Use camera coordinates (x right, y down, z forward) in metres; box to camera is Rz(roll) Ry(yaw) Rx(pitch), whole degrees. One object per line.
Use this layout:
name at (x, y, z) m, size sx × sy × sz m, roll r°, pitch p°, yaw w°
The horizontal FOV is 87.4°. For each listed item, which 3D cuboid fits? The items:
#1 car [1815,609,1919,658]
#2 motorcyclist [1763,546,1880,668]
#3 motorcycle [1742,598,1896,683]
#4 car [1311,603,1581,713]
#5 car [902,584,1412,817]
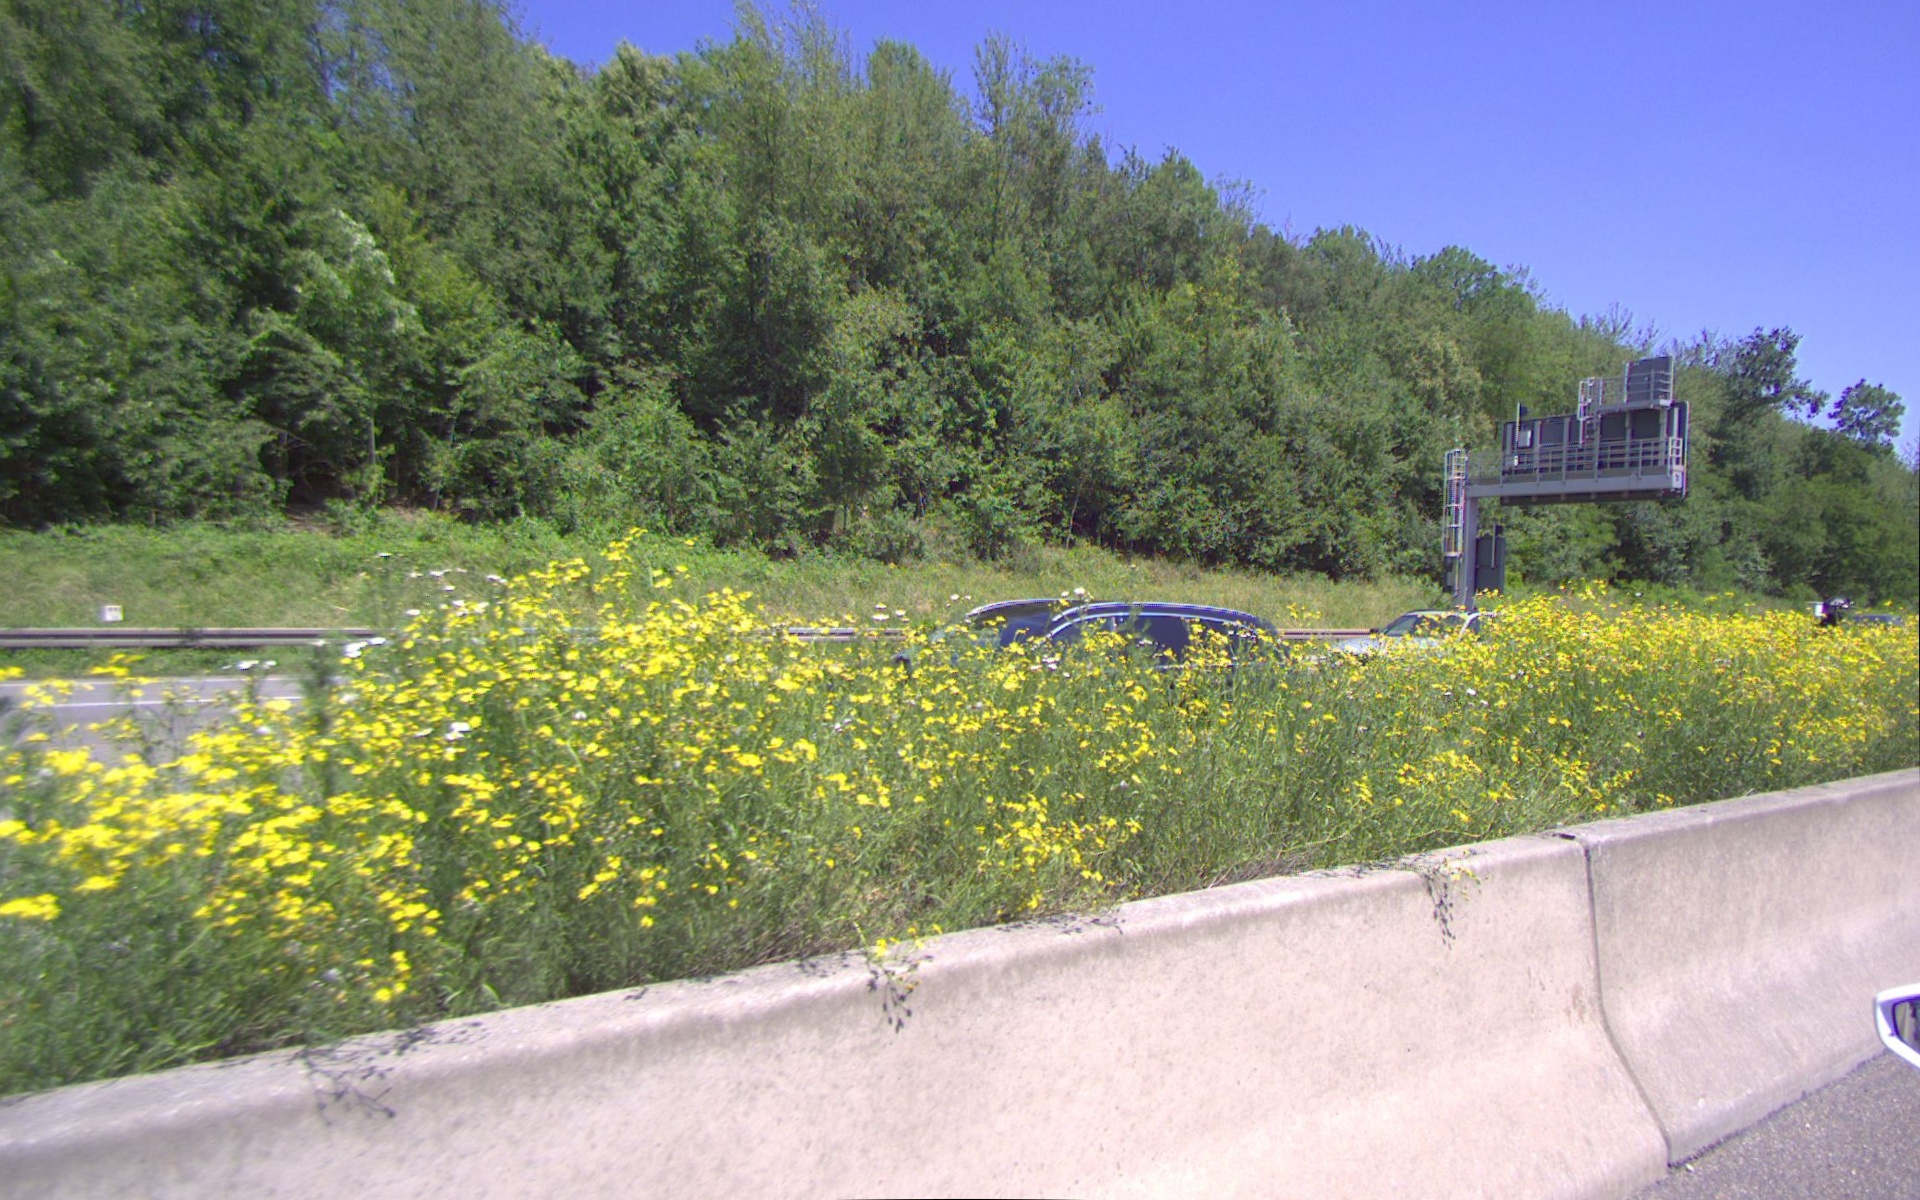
car at (34.239, 1.239, 37.831) m, size 4.371 × 1.718 × 1.747 m, roll 1°, pitch 0°, yaw -31°
motorcyclist at (13.457, 0.110, 15.697) m, size 1.269 × 1.809 × 1.026 m, roll 1°, pitch 0°, yaw -30°
motorcycle at (13.410, 0.607, 15.668) m, size 2.583 × 1.231 × 1.035 m, roll 1°, pitch 0°, yaw -31°
car at (7.854, 0.858, 16.147) m, size 4.306 × 1.542 × 1.830 m, roll 1°, pitch 0°, yaw -31°
car at (1.692, 0.681, 8.349) m, size 3.953 × 1.517 × 1.830 m, roll 1°, pitch 0°, yaw -31°
